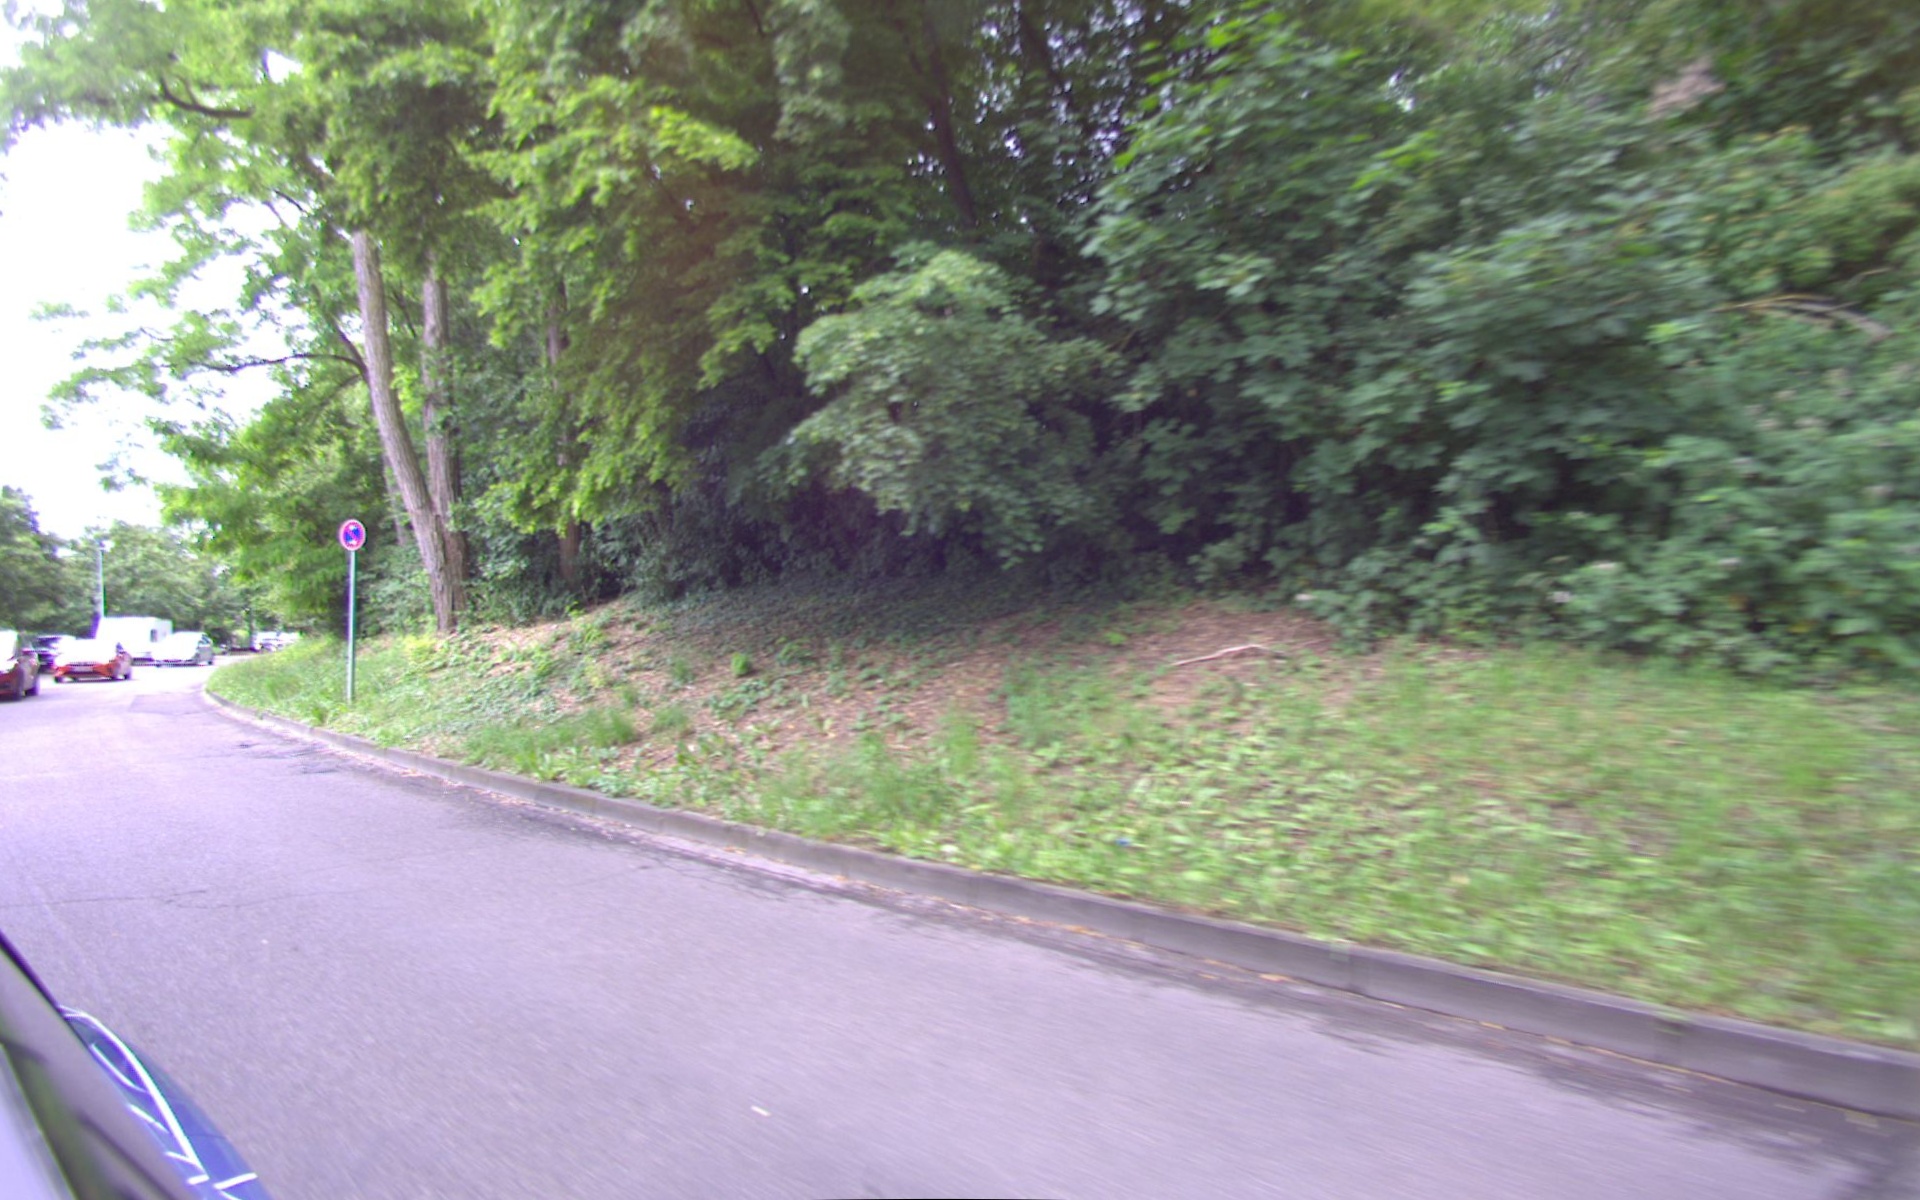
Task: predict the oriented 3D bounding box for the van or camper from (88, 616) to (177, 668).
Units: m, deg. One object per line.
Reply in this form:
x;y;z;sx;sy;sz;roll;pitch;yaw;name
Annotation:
-44.413;2.194;54.487;2.131;2.555;6.051;-1;-1;-24;van or camper

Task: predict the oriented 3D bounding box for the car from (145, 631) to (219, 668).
-40.359;2.526;52.576;1.891;1.694;4.013;1;0;-20;car

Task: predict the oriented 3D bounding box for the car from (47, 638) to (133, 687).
-30.623;2.163;35.729;1.837;1.460;4.186;3;-1;-35;car

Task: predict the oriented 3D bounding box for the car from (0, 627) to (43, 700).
-23.468;1.488;24.062;1.967;1.641;4.636;-1;-1;-36;car

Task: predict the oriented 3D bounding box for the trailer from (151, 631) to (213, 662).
-47.710;2.826;62.142;1.747;1.744;4.665;1;-1;-22;trailer

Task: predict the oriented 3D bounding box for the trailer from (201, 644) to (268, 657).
-50.219;3.475;70.229;2.075;0.656;6.421;-1;-1;-19;trailer

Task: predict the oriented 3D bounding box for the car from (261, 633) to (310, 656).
-46.517;3.055;69.899;1.774;1.501;4.012;0;-2;-18;car

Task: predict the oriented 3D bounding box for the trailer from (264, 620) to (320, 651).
-53.160;2.857;80.674;2.078;2.380;4.712;1;-3;-12;trailer

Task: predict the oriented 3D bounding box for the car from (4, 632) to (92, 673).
-39.849;2.239;44.327;1.822;1.655;4.544;0;-2;-28;car
